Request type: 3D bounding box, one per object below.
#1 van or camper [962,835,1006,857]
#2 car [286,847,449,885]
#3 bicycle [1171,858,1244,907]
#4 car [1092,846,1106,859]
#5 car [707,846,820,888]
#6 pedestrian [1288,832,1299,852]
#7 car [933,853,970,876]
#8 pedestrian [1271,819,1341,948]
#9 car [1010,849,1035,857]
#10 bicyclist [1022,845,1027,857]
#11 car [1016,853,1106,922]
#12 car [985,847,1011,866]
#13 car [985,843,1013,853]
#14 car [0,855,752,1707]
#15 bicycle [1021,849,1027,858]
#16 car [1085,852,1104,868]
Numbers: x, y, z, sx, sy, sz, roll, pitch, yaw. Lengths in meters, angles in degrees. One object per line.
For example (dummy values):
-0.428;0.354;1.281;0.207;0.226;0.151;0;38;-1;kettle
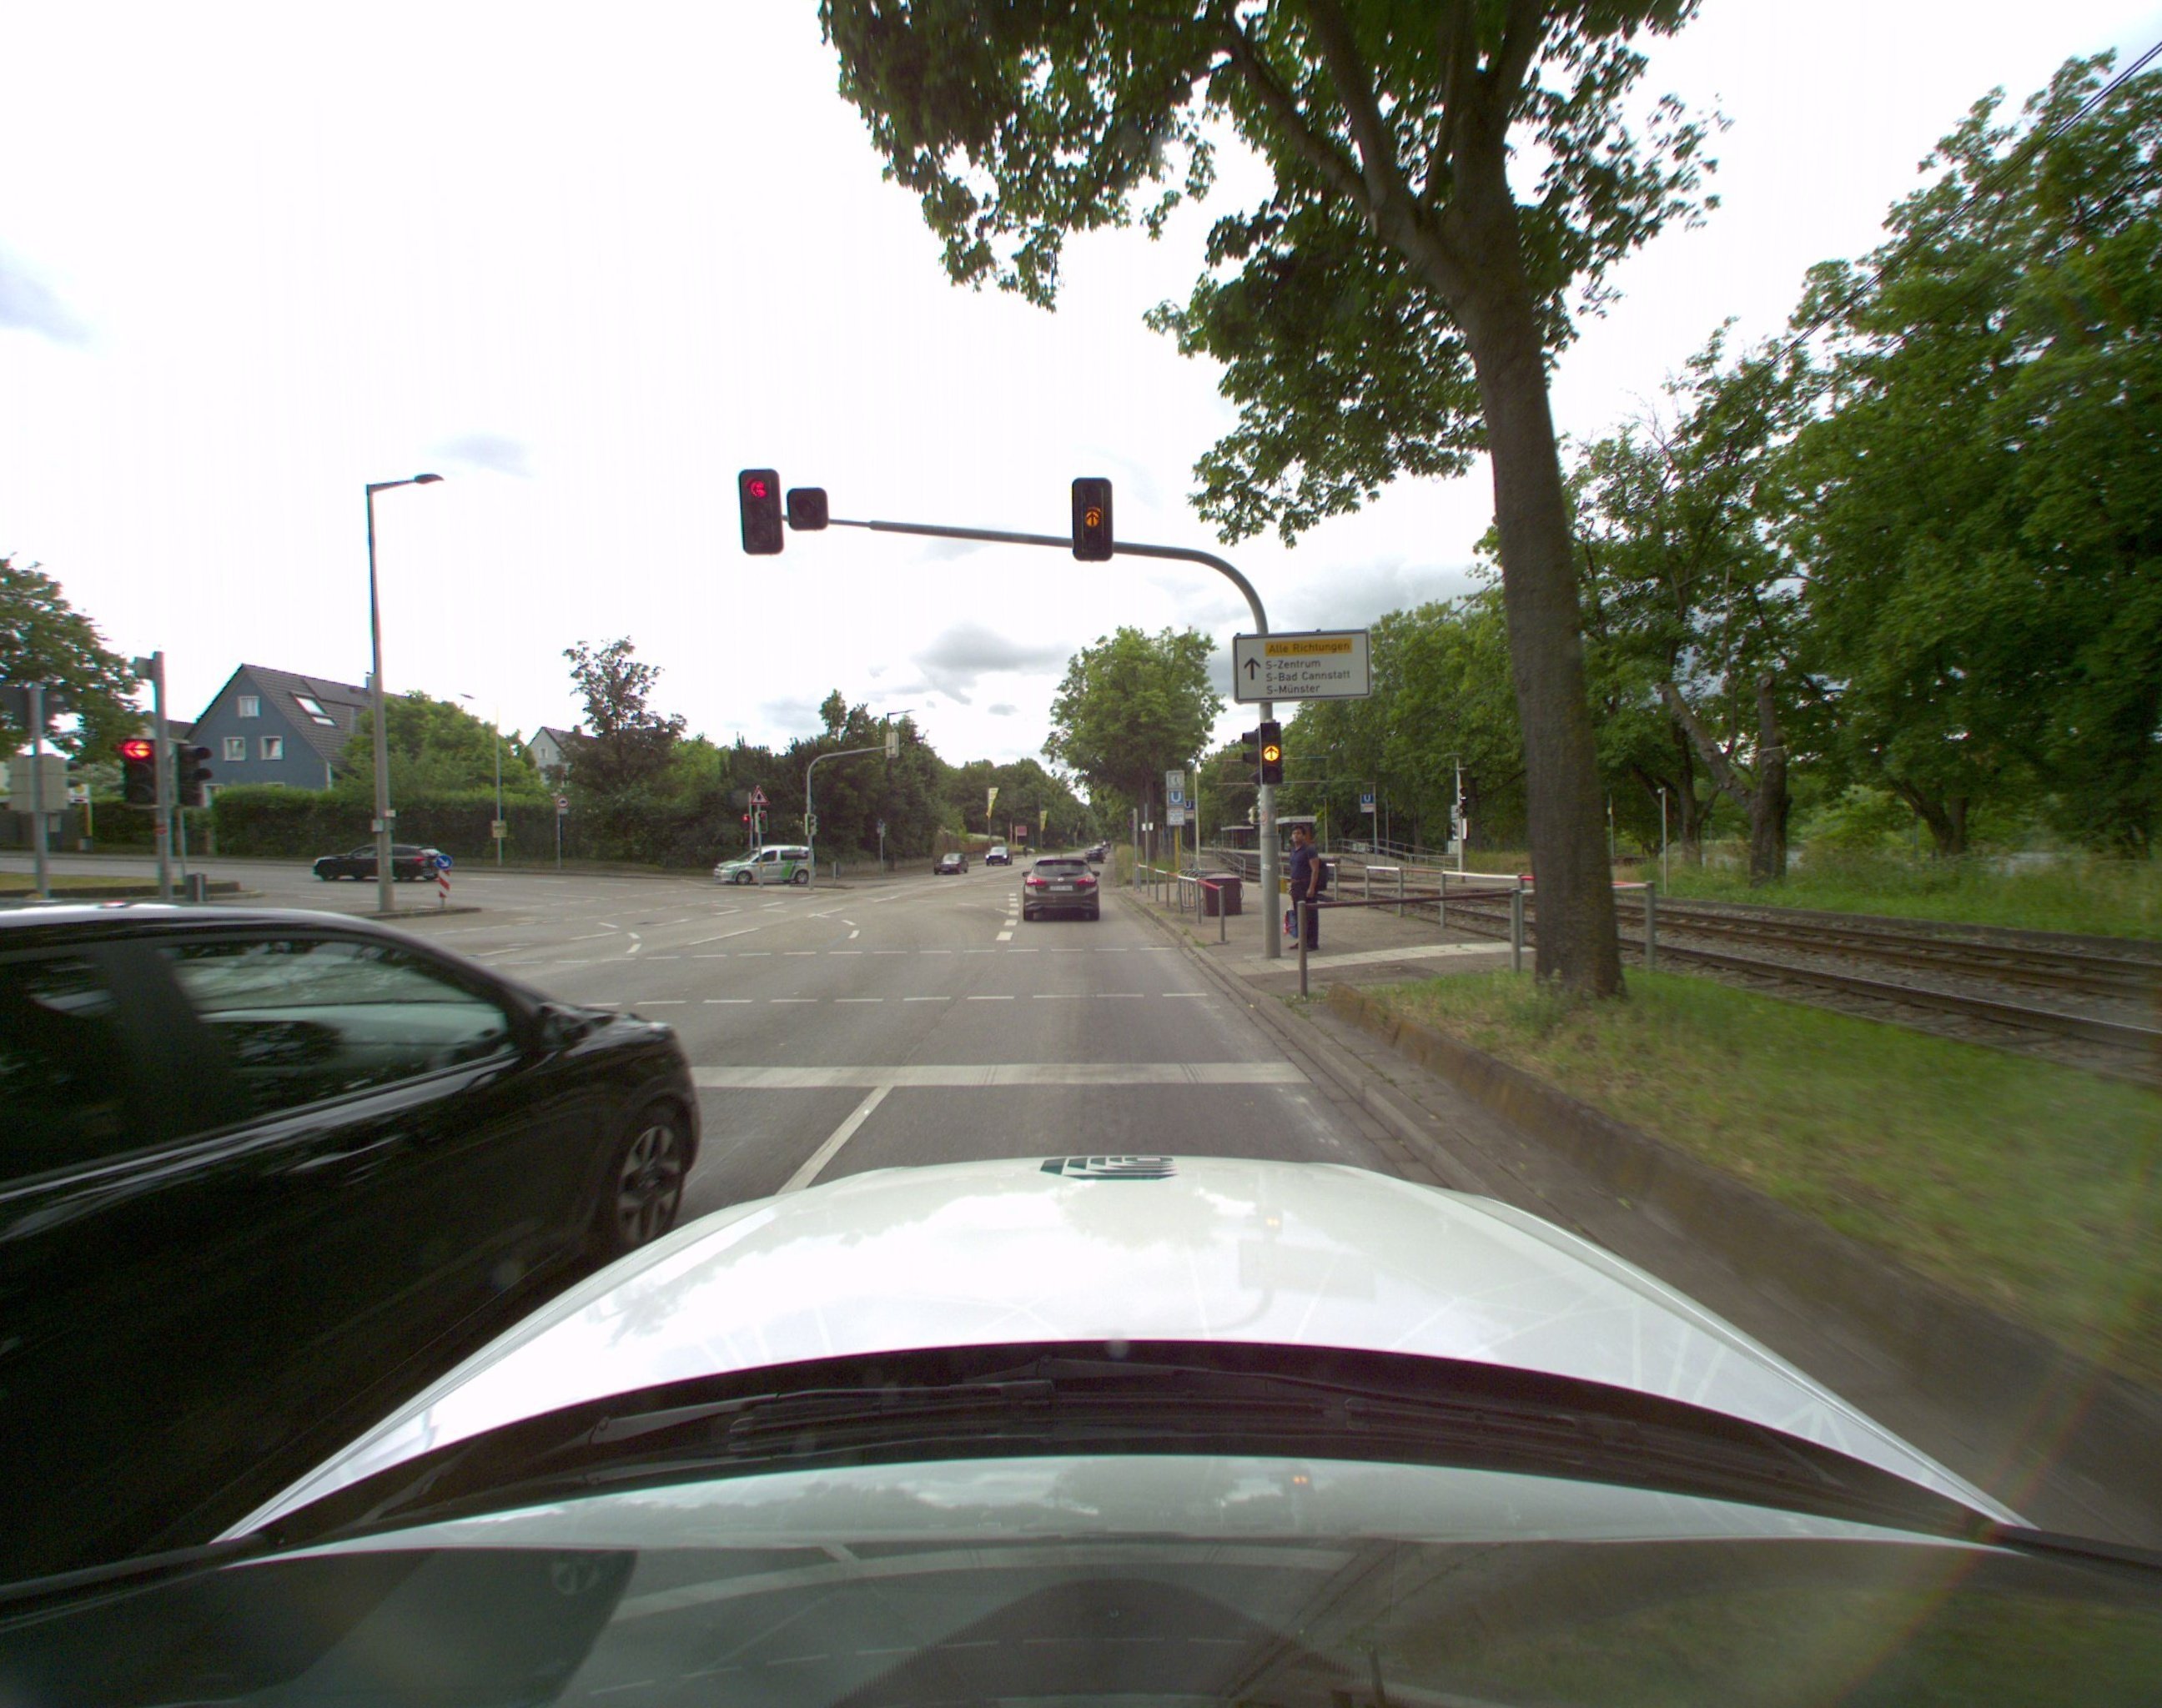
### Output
-17.350;-1.463;145.885;7.114;3.370;2.798;4;0;2;van or camper
-28.565;0.456;32.761;4.529;1.423;1.941;0;0;-11;car
3.177;0.713;20.457;1.670;1.090;0.601;-4;0;-2;bicycle
2.209;-0.234;97.190;1.496;1.528;3.675;0;0;4;car
-14.766;0.563;38.040;4.568;1.874;1.925;0;0;-44;car
16.342;-0.886;62.574;0.715;1.511;0.725;0;-1;5;pedestrian
-8.627;0.707;54.681;1.736;1.464;4.342;0;0;0;car
3.201;0.413;11.667;0.748;1.737;0.841;-4;-1;7;pedestrian
-10.459;-0.183;145.889;4.361;1.441;1.961;0;0;-1;car
-7.585;-0.441;108.570;0.640;1.535;0.978;0;0;-2;bicyclist
-0.388;0.750;20.080;1.829;1.528;3.933;0;0;4;car
-7.754;0.195;76.510;1.896;1.678;5.080;-1;0;0;car
-12.615;-0.991;125.744;3.966;1.497;1.863;0;0;6;car
-2.461;0.763;2.011;1.697;1.480;3.668;-1;0;1;car
-7.605;-0.103;108.607;0.640;1.145;2.146;0;0;-2;bicycle
1.343;0.573;80.919;1.703;1.475;3.675;0;0;4;car
